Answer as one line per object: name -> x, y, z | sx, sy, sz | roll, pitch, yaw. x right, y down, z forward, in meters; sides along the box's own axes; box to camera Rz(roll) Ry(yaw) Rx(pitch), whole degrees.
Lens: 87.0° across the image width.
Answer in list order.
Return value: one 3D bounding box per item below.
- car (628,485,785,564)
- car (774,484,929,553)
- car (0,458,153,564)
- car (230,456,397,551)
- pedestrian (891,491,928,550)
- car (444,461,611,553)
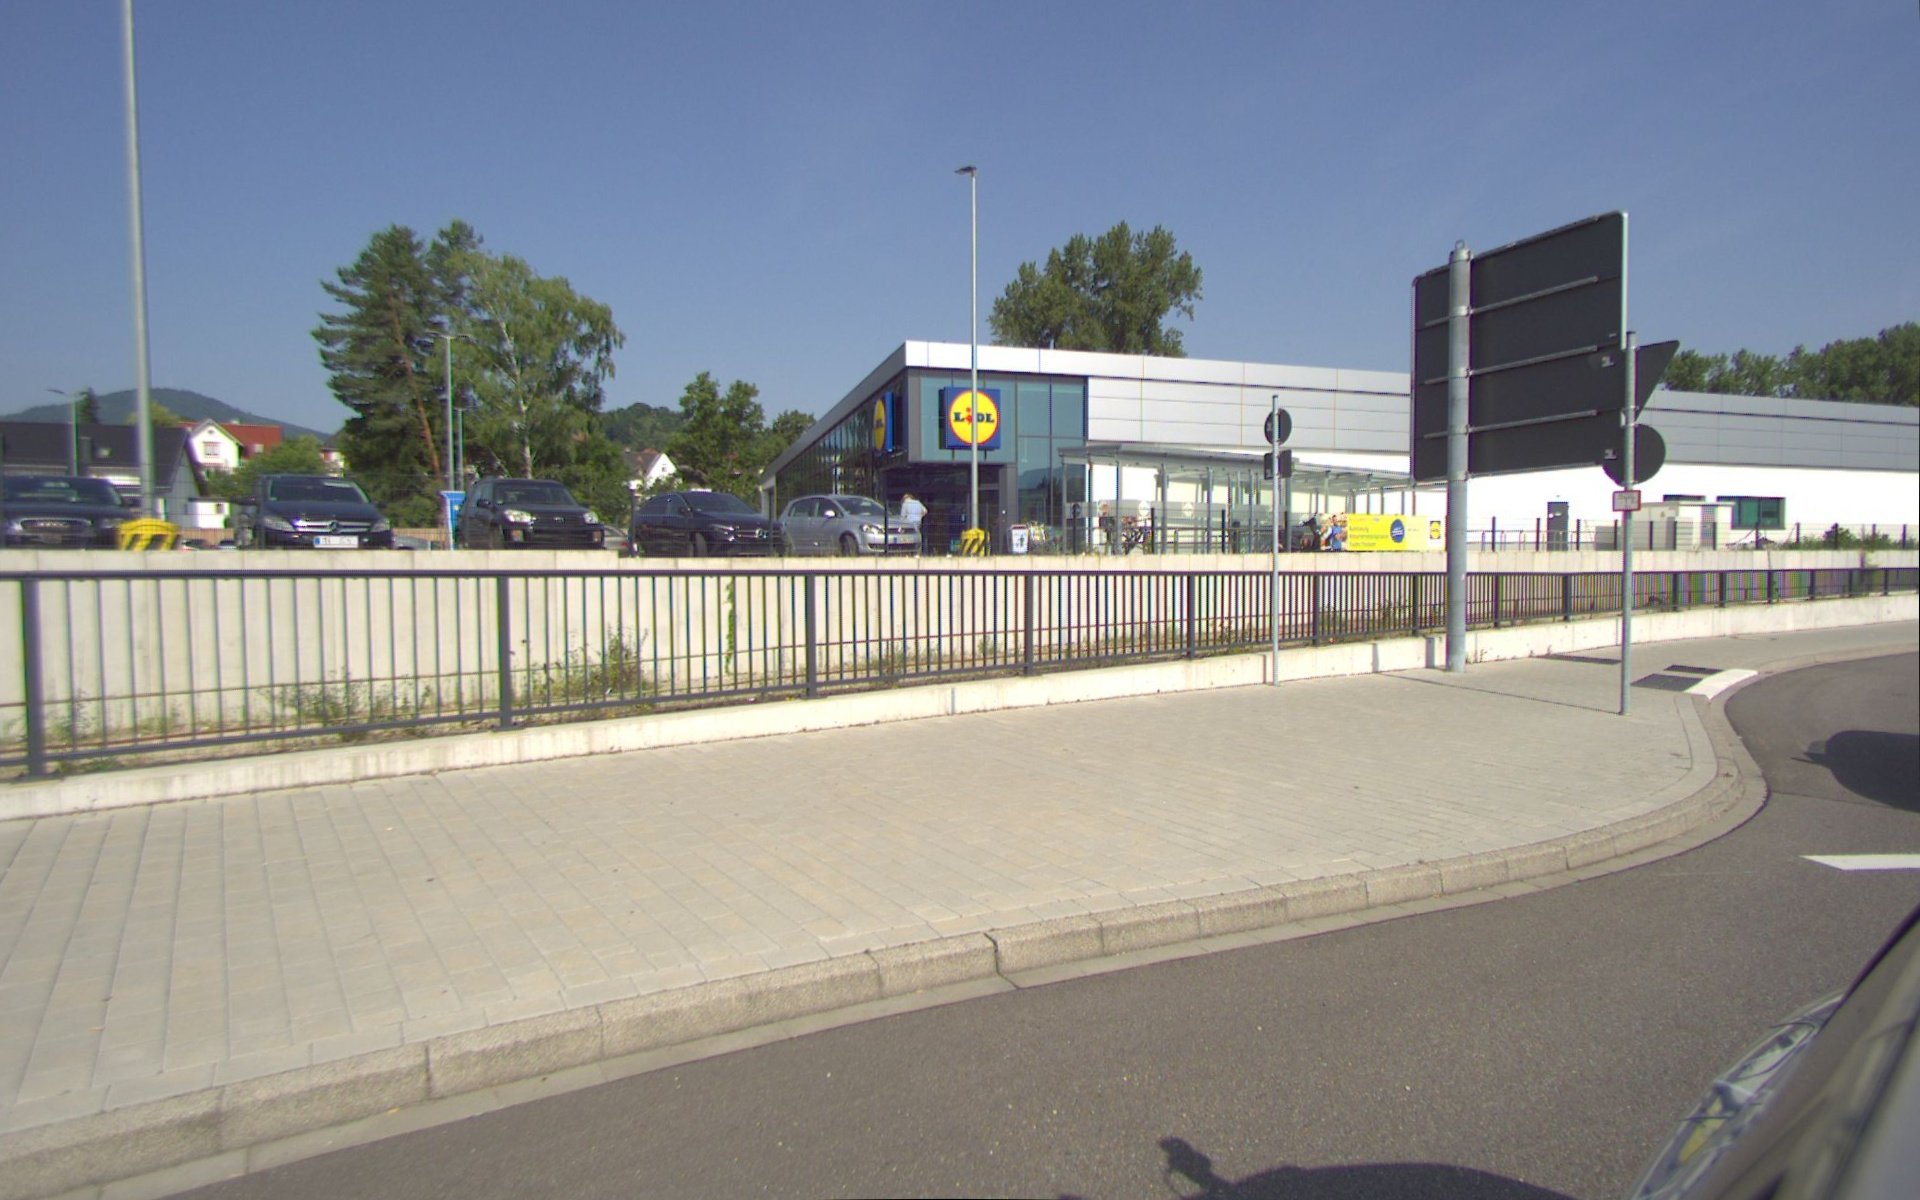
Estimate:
car -> -5.153, -1.442, 20.258 | 1.459, 1.421, 4.071 | -2, 3, -39
car -> -2.494, -1.743, 22.558 | 1.651, 1.381, 3.814 | -2, 3, -39
car -> -12.267, -1.140, 13.978 | 1.699, 1.261, 3.976 | -2, 3, -39
car -> -10.229, -1.410, 15.879 | 1.713, 1.261, 4.223 | -2, 3, -39
pedestrian -> -1.141, -1.802, 22.999 | 0.645, 1.328, 0.549 | -3, 3, -37
car -> -7.794, -1.562, 18.043 | 1.694, 1.421, 4.014 | -2, 3, -39
